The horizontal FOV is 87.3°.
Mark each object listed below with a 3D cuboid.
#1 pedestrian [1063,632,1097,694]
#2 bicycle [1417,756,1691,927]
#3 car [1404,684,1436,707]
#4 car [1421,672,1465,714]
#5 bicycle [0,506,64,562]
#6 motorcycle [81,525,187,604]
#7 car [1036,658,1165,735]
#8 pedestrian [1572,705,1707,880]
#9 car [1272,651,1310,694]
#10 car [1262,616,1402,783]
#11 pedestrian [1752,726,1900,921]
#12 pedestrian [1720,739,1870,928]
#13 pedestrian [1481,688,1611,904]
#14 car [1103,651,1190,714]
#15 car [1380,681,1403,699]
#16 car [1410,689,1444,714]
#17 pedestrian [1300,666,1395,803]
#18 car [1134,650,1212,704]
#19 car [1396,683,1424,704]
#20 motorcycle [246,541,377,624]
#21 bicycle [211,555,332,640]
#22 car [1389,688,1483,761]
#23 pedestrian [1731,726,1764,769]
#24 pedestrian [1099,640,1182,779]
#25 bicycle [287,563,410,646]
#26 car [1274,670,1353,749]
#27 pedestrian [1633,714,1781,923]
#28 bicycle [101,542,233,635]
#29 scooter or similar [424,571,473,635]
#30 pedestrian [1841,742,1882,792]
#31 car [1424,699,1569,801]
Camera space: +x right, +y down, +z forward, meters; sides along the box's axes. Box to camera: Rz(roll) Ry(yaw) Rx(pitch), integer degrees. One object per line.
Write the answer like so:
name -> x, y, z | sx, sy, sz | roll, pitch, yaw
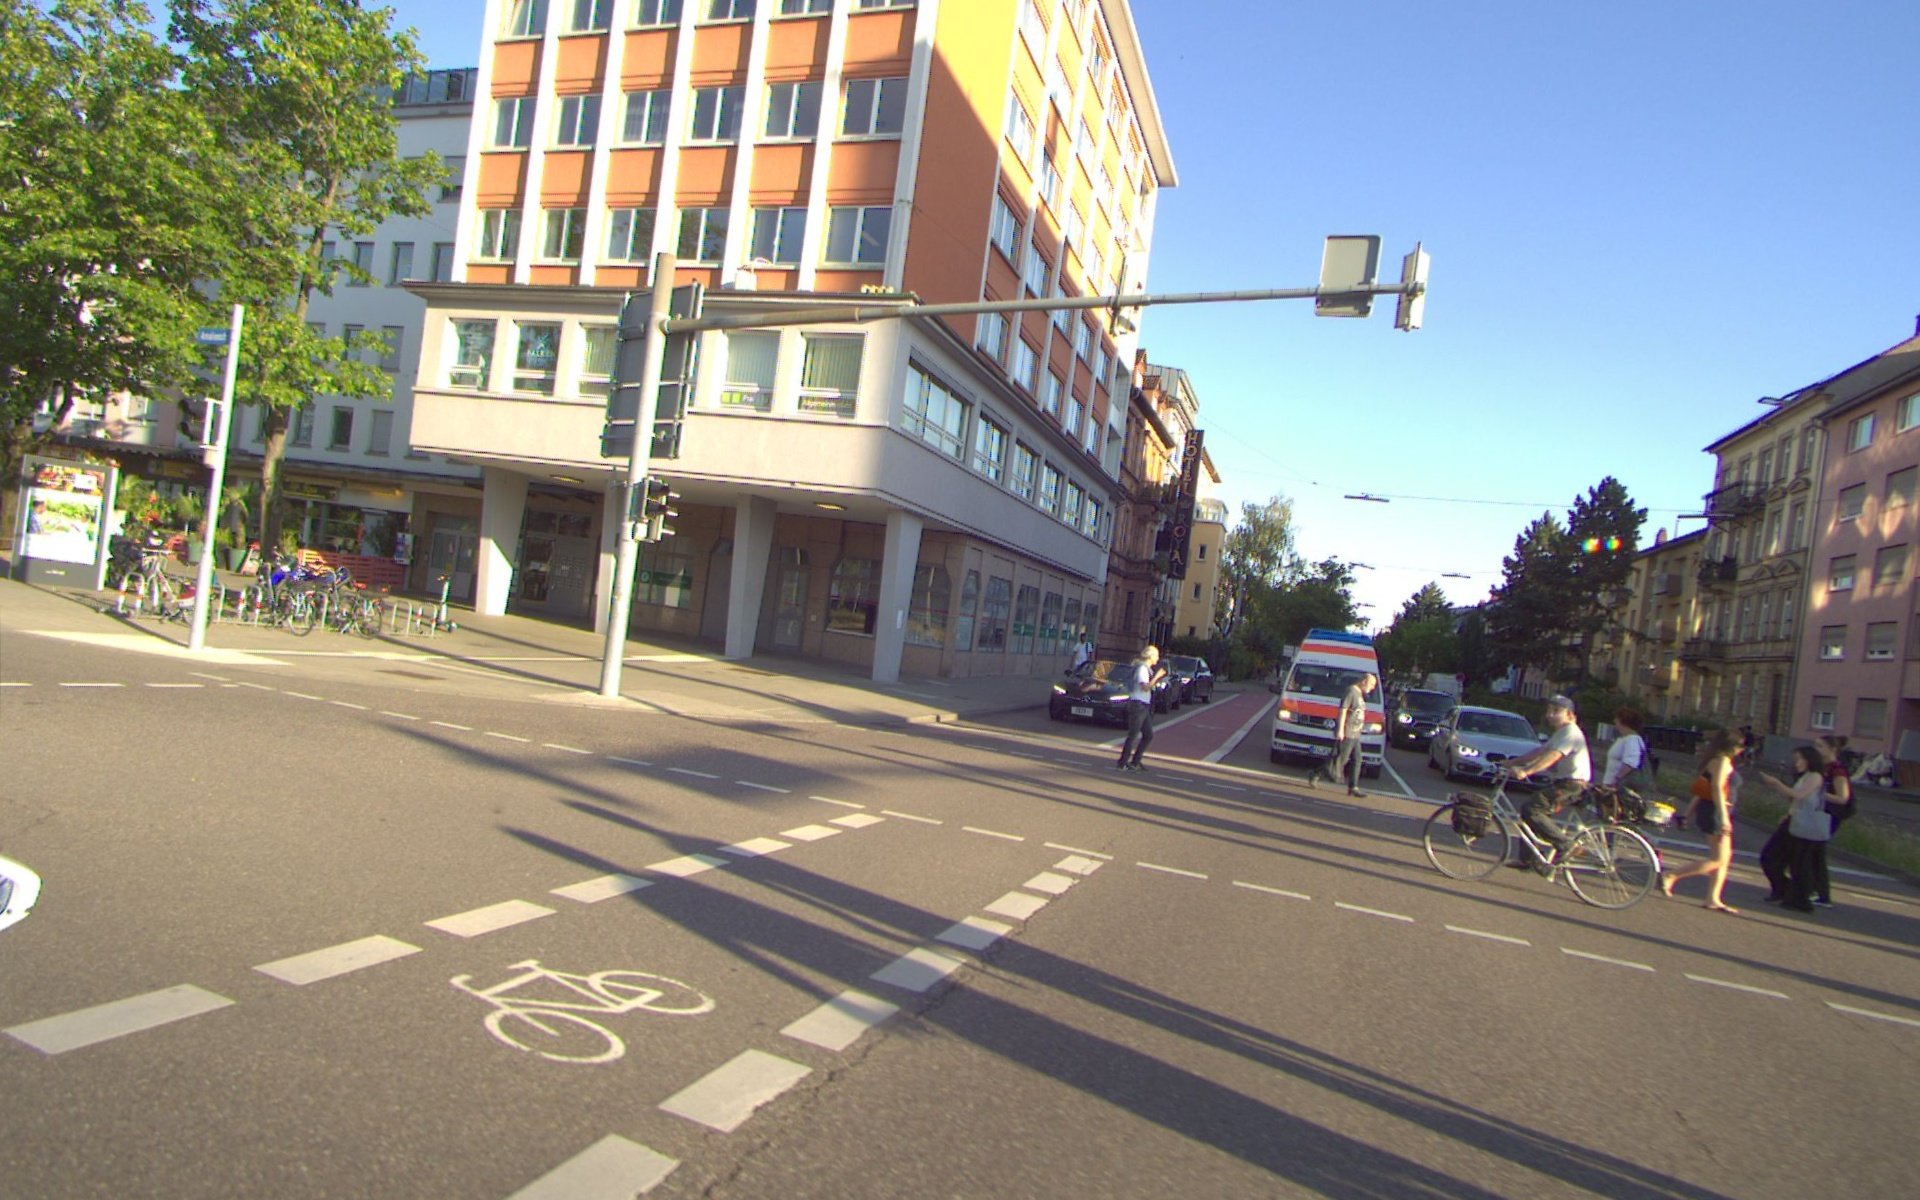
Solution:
pedestrian -> 3.679, 1.927, 30.808 | 0.628, 1.777, 0.819 | 8, 0, 22
bicycle -> 4.828, 1.942, 8.314 | 1.817, 0.992, 0.522 | 6, -1, 27
car -> 39.569, 8.214, 86.592 | 1.840, 1.615, 3.849 | 8, -1, 18
car -> 36.076, 6.889, 75.229 | 2.051, 2.753, 4.550 | 8, -1, 18
bicycle -> -23.585, -1.673, 25.546 | 1.723, 1.172, 0.421 | 9, 1, 21
motorcycle -> -16.170, -0.705, 19.690 | 2.162, 1.257, 0.668 | 8, 0, 26
car -> 3.385, 2.191, 23.377 | 1.806, 1.356, 4.678 | 8, -1, 21
pedestrian -> 7.416, 2.065, 11.032 | 0.889, 1.682, 0.730 | 8, 0, 21
car -> 23.130, 5.021, 70.176 | 2.085, 2.553, 6.434 | 8, -1, 19
car -> 7.067, 1.822, 19.316 | 1.890, 2.511, 5.270 | 8, -1, 20
pedestrian -> 8.427, 2.141, 9.833 | 0.733, 1.682, 0.684 | 8, 0, 21
pedestrian -> 7.734, 2.128, 9.355 | 0.733, 1.518, 0.684 | 8, 0, 21
pedestrian -> 4.834, 1.576, 8.348 | 0.748, 1.608, 0.677 | 6, -1, 26
car -> 5.616, 2.429, 29.922 | 1.723, 1.528, 3.775 | 8, -1, 21
car -> 49.566, 10.317, 115.550 | 1.840, 1.615, 3.849 | 8, -1, 18
car -> 37.502, 8.116, 80.854 | 1.840, 1.615, 3.849 | 8, -1, 18
pedestrian -> 5.449, 1.859, 14.183 | 1.008, 1.722, 0.786 | 8, 0, 21
car -> 7.797, 2.784, 36.598 | 1.963, 1.592, 4.001 | 8, -1, 22
car -> 43.344, 9.010, 96.883 | 1.840, 1.615, 3.849 | 8, -1, 18
motorcycle -> -13.297, -0.332, 20.700 | 0.747, 1.423, 2.049 | 8, -1, 27
bicycle -> -11.563, -0.037, 16.888 | 1.839, 1.140, 0.647 | 9, 0, 21
car -> 12.538, 3.221, 26.693 | 1.755, 1.481, 4.001 | 8, -1, 21
pedestrian -> 32.072, 5.993, 40.987 | 0.698, 1.595, 0.728 | 7, 0, 17
pedestrian -> 2.449, 1.462, 13.599 | 0.797, 1.722, 0.570 | 8, 0, 21
bicycle -> -11.002, 0.075, 18.081 | 2.085, 1.172, 0.647 | 9, 0, 21
car -> 8.940, 2.694, 25.579 | 1.567, 1.589, 4.087 | 8, -1, 19
pedestrian -> 6.524, 1.873, 8.832 | 0.733, 1.609, 0.683 | 8, 0, 24
bicycle -> -12.152, -0.182, 15.411 | 1.839, 1.140, 0.647 | 9, 0, 21
scooter or similar -> -11.305, 0.061, 22.221 | 1.165, 1.269, 0.415 | 7, 0, 40
pedestrian -> 31.985, 5.931, 35.711 | 0.698, 1.595, 0.728 | 7, 0, 19
car -> 10.314, 2.819, 19.632 | 1.772, 1.393, 4.001 | 7, -1, 20
